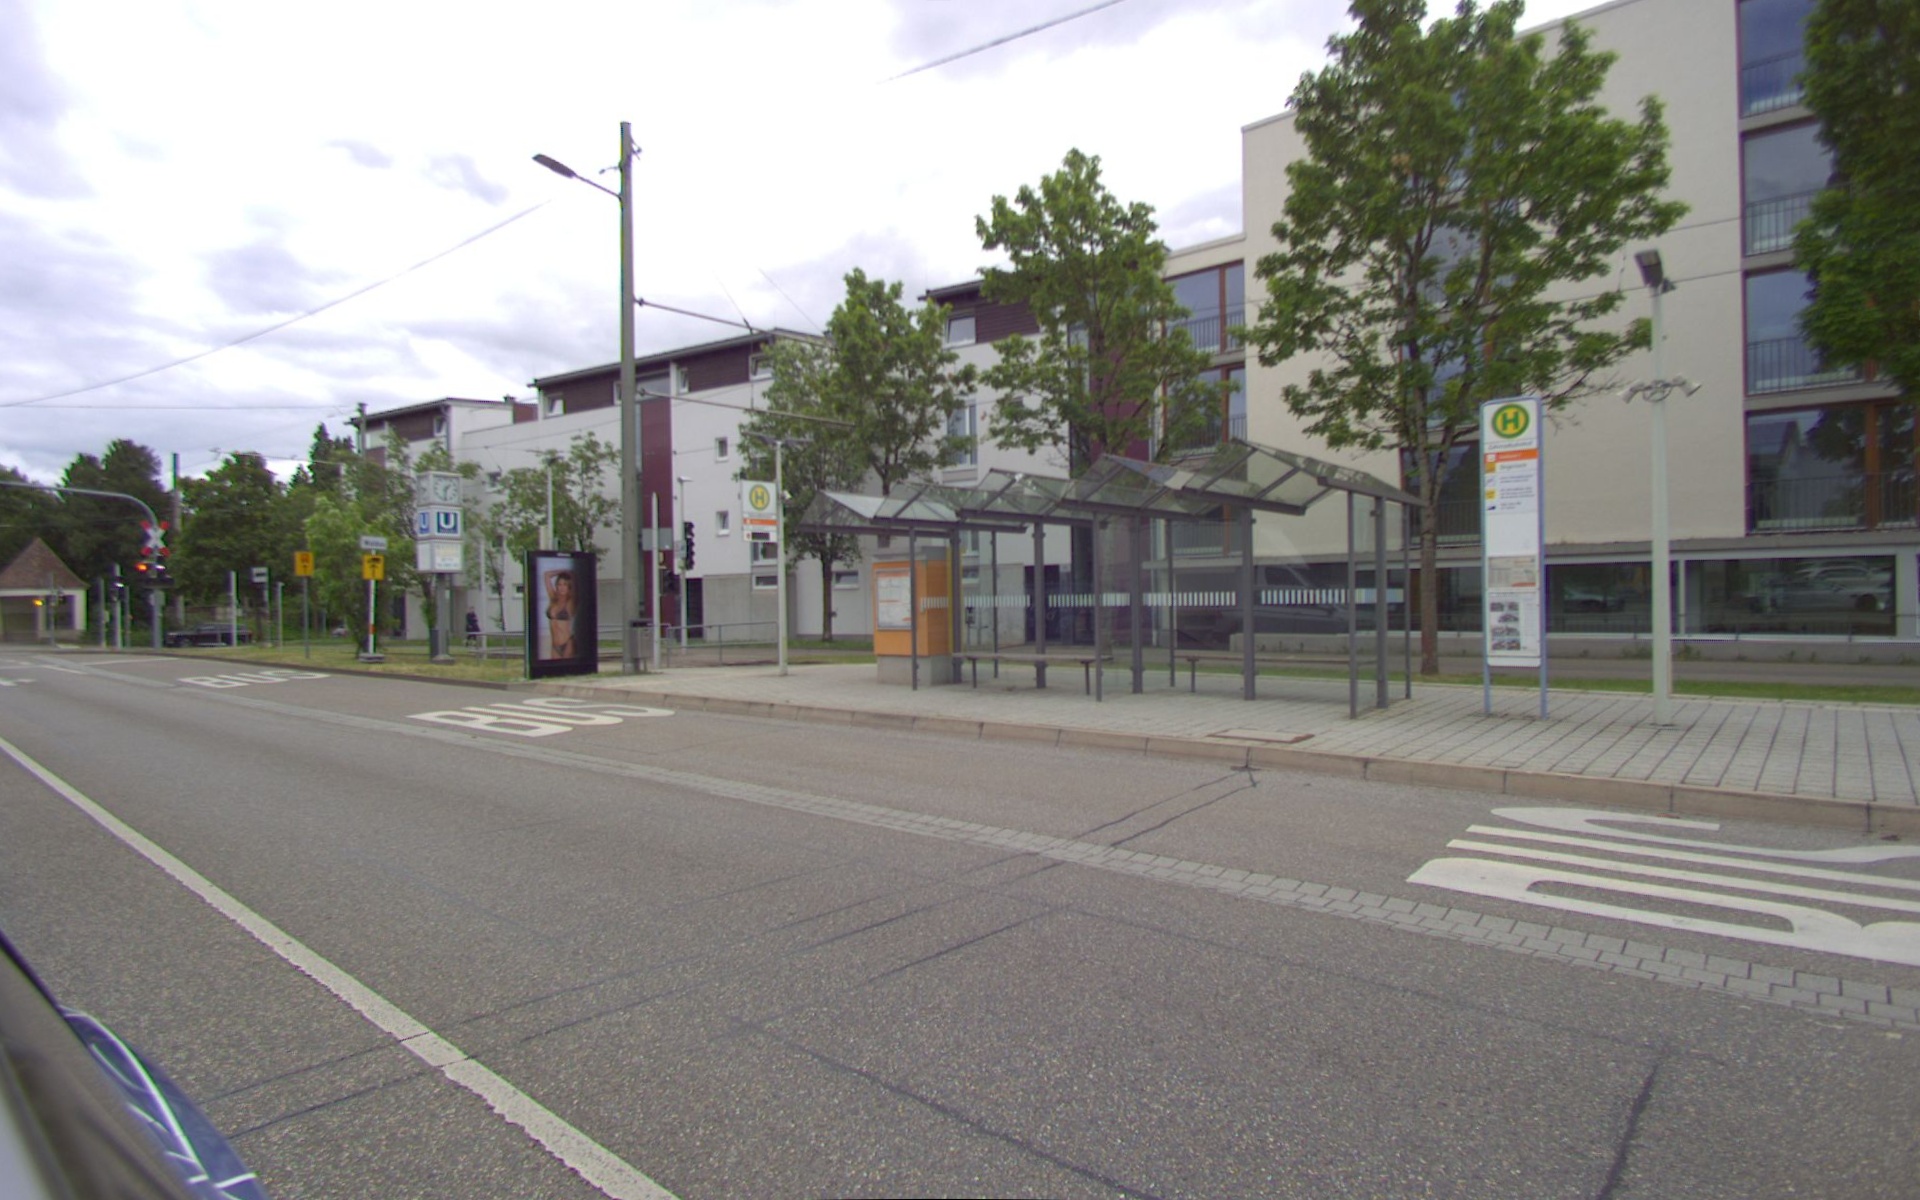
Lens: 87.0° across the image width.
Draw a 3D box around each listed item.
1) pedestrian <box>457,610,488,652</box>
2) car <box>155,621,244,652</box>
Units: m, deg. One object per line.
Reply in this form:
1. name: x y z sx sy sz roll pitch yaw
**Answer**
1. pedestrian: -19.168 1.211 39.776 0.778 1.607 0.773 -1 0 32
2. car: -46.505 2.219 61.936 1.926 1.719 3.950 -1 0 37
